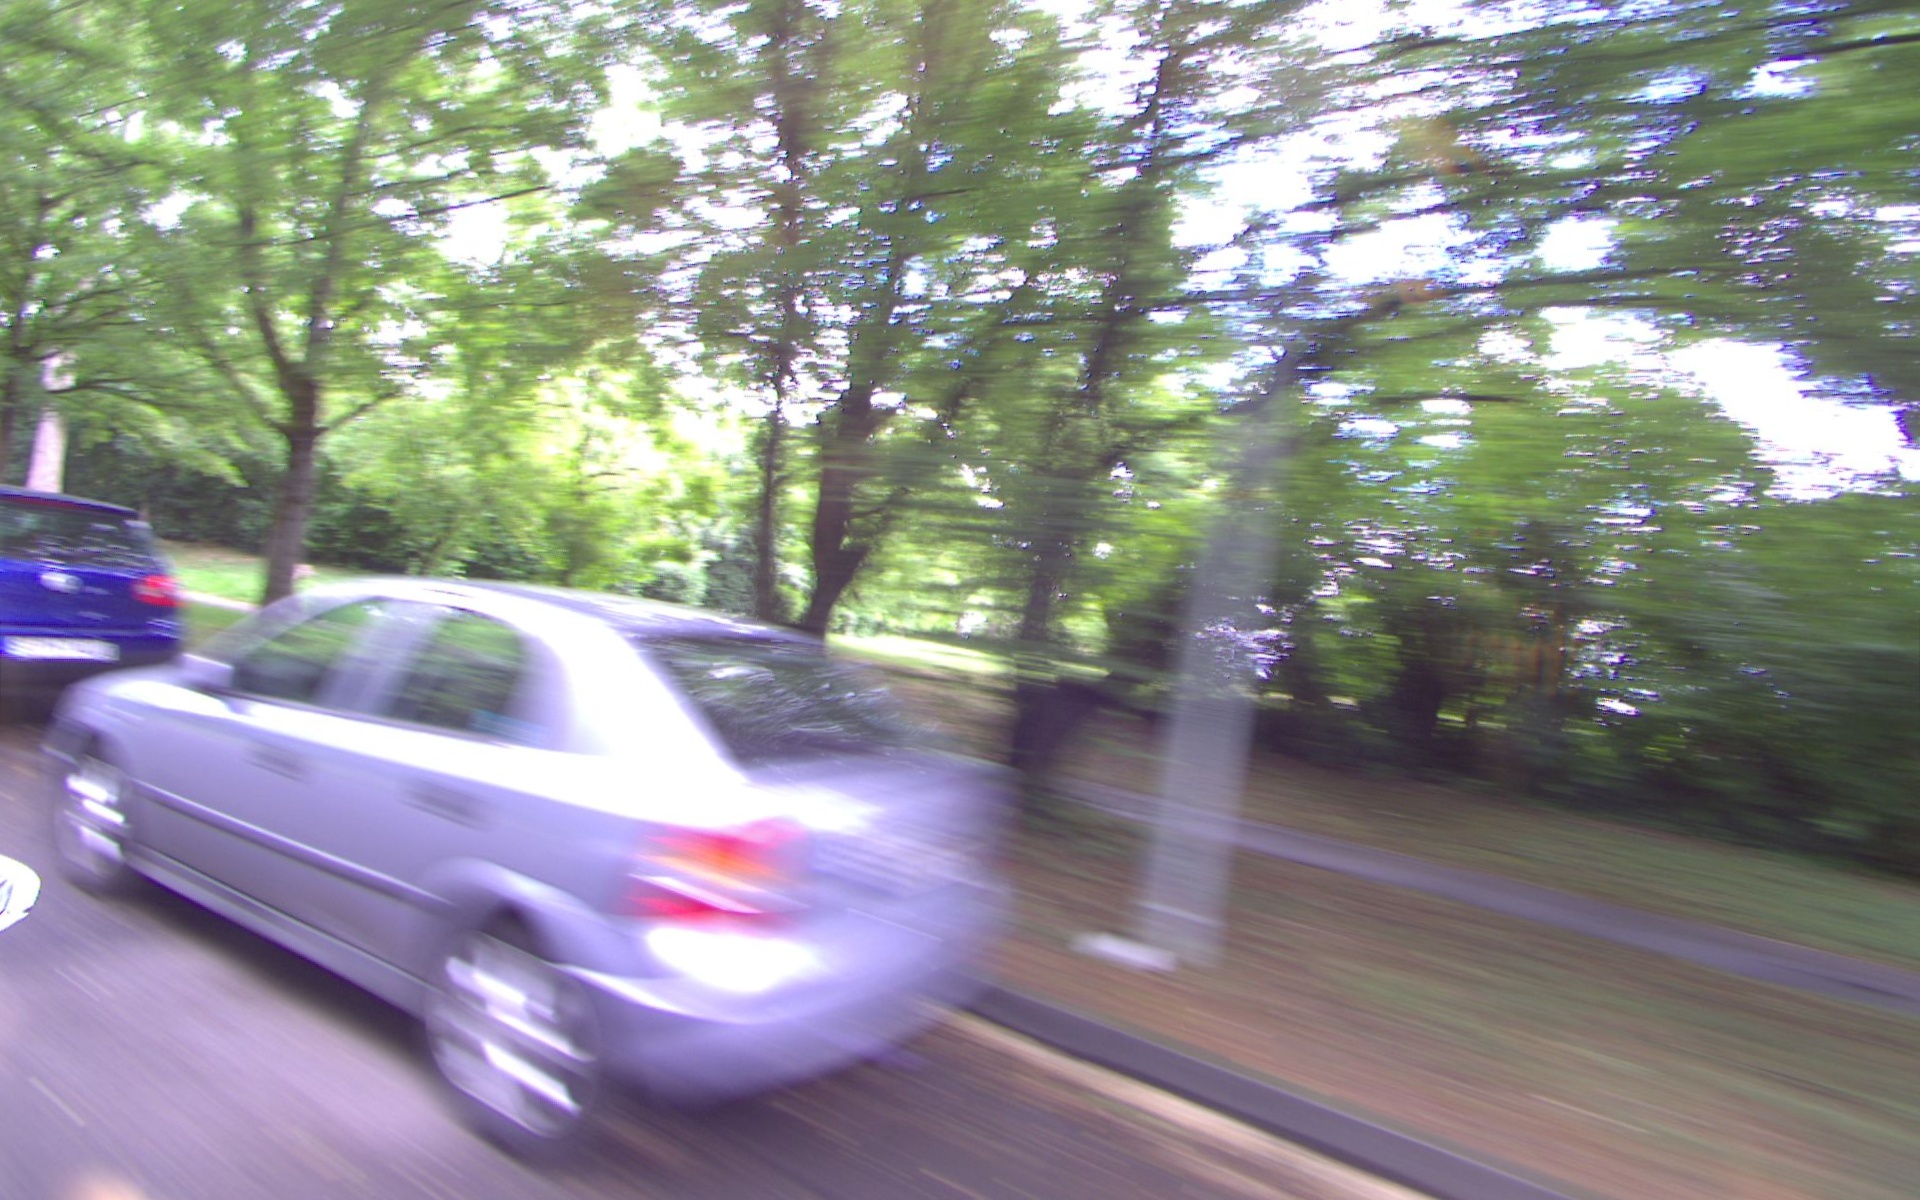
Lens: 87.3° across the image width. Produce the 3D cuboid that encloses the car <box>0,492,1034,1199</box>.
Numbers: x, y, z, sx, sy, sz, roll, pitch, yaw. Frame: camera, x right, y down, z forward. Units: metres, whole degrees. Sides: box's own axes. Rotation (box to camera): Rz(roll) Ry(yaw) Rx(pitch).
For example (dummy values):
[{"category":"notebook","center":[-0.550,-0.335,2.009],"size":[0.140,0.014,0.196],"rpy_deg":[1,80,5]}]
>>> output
[{"category":"car","center":[-1.897,0.528,3.913],"size":[3.882,1.448,1.720],"rpy_deg":[6,-1,30]}]

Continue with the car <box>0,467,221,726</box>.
[{"category":"car","center":[-7.436,-0.192,7.243],"size":[4.110,1.526,1.720],"rpy_deg":[6,-3,29]}]
